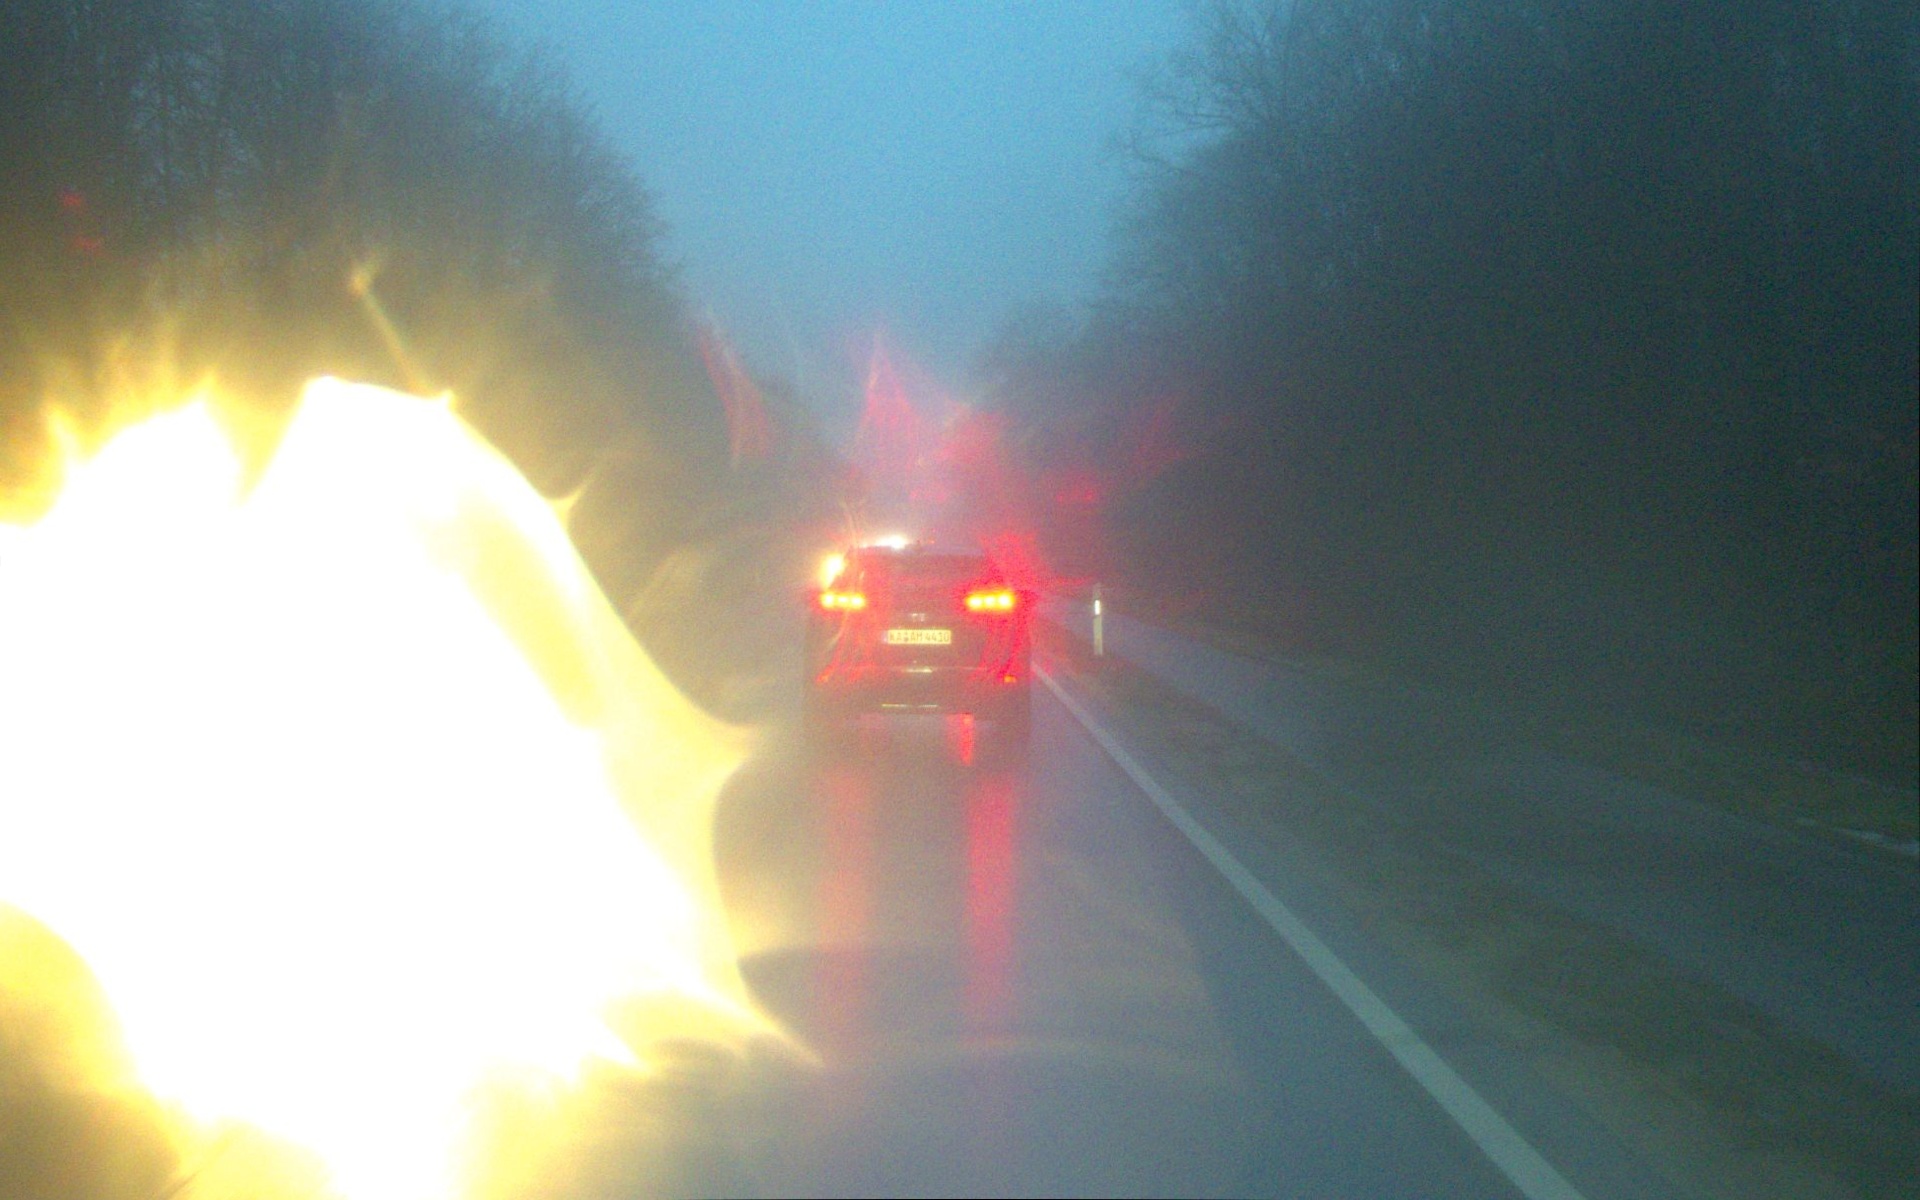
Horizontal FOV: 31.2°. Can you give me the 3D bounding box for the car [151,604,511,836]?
[{"bbox_3d":[-4.131,0.737,23.213,1.703,1.358,4.376,-1,0,-1],"label":"car"}]
